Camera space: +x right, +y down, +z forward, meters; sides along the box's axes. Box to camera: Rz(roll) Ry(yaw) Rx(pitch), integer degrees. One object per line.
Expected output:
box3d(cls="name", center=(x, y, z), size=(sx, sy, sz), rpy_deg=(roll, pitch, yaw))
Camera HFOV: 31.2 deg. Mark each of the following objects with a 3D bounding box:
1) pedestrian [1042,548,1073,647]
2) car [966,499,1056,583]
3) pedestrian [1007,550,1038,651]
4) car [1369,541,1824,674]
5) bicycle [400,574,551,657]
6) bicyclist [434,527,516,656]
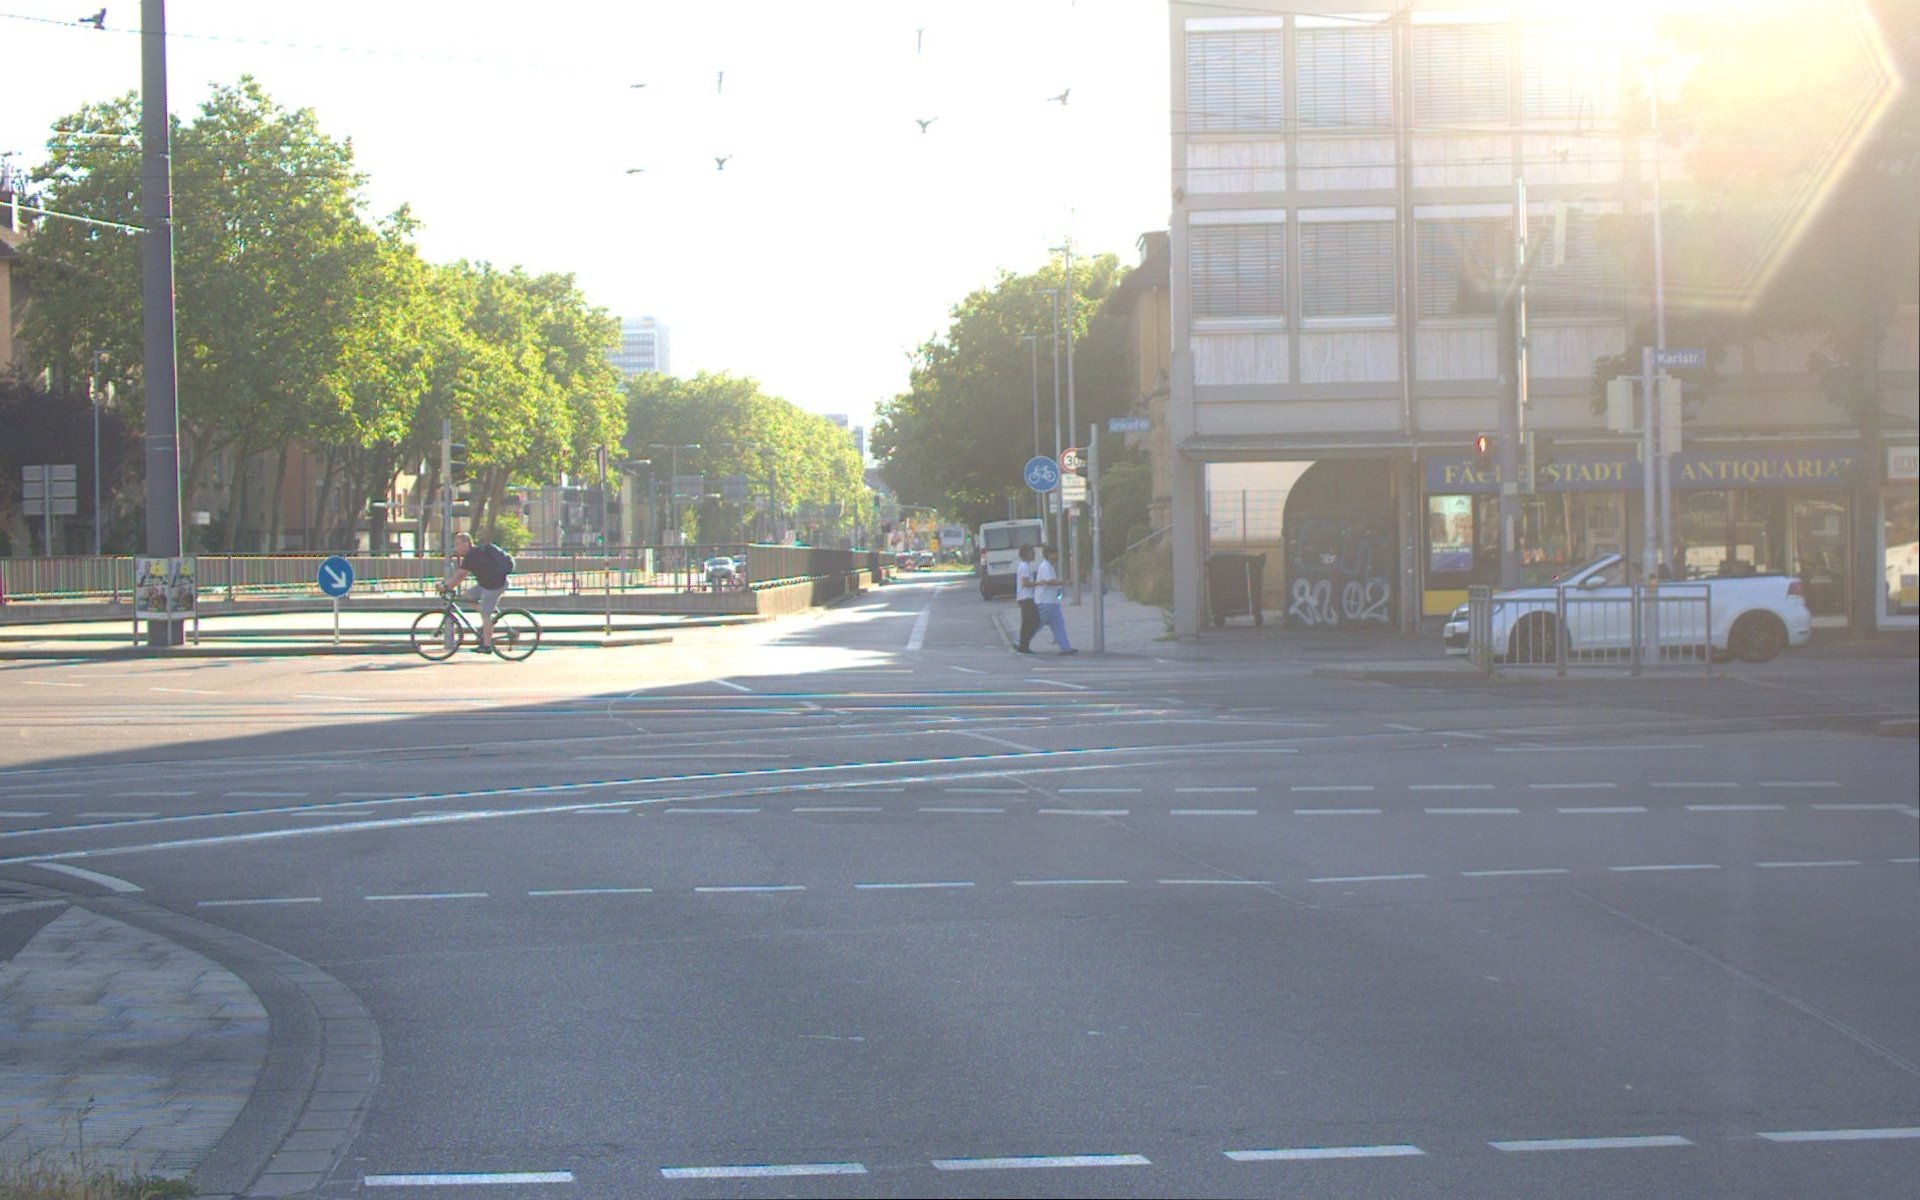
box3d(cls="pedestrian", center=(1.487, -0.044, 52.414), size=(0.365, 1.502, 0.543), rpy_deg=(-1, 1, -7))
box3d(cls="car", center=(1.514, -1.784, 104.508), size=(2.486, 2.384, 5.935), rpy_deg=(-2, 1, -1))
box3d(cls="pedestrian", center=(0.935, 0.002, 51.582), size=(0.365, 1.502, 0.543), rpy_deg=(-1, 1, -7))
box3d(cls="car", center=(7.451, 0.068, 40.544), size=(4.919, 1.474, 2.000), rpy_deg=(-1, 1, -4))
box3d(cls="bicycle", center=(-6.591, 0.204, 46.808), size=(1.972, 1.094, 0.677), rpy_deg=(-1, 1, -4))
box3d(cls="bicyclist", center=(-6.594, -0.115, 46.805), size=(1.040, 1.733, 0.678), rpy_deg=(-1, 1, -4))
